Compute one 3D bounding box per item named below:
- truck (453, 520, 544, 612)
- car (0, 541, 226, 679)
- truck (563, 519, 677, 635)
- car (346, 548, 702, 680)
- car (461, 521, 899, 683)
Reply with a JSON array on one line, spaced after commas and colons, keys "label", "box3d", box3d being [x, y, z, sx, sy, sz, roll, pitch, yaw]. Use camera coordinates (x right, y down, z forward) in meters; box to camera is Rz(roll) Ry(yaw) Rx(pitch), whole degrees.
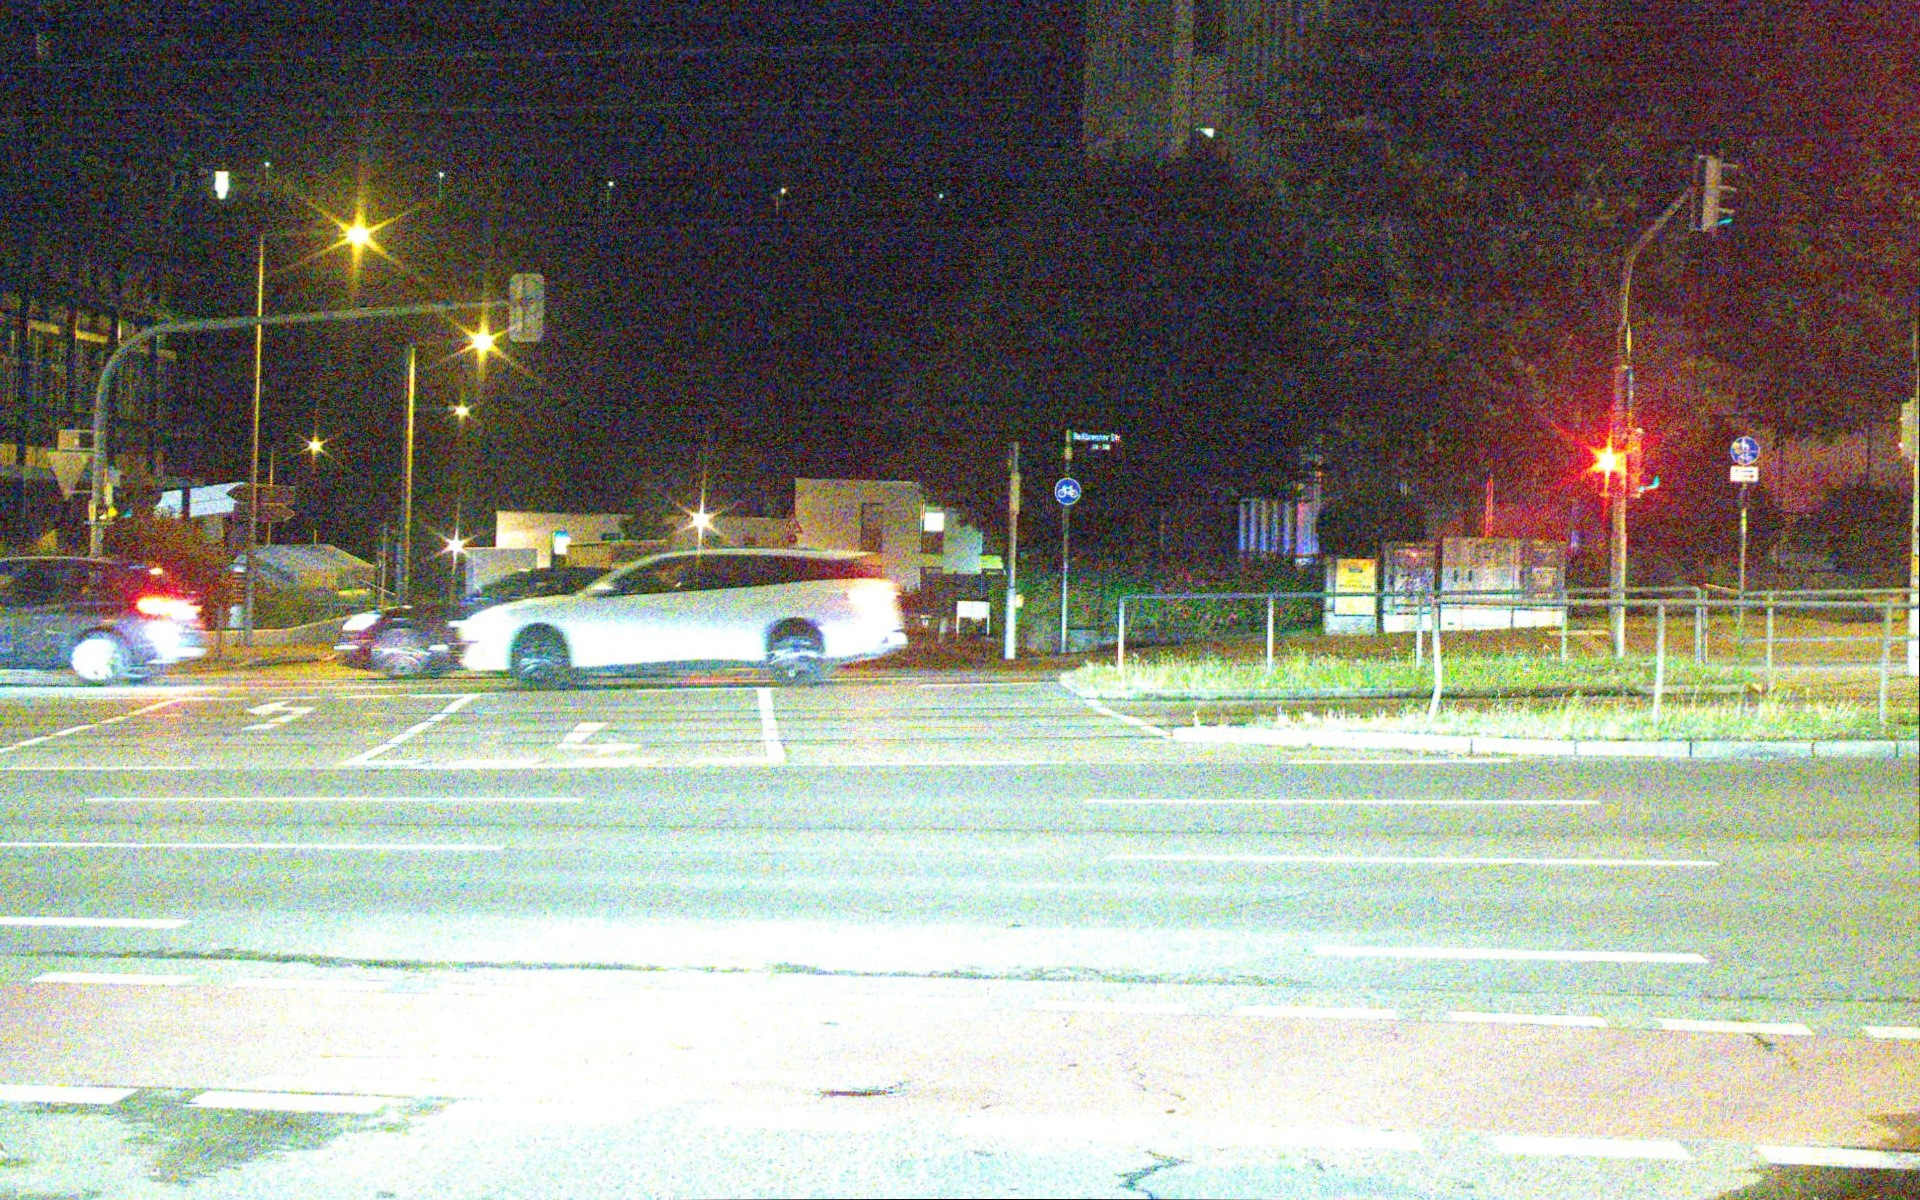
[{"label": "truck", "box3d": [-16.135, -1.167, 119.886, 2.417, 3.078, 6.439, 1, 0, -14]}, {"label": "car", "box3d": [-11.123, 0.102, 41.093, 4.234, 1.579, 1.803, 1, 0, 4]}, {"label": "truck", "box3d": [-14.780, -0.993, 148.848, 3.359, 4.826, 7.908, 1, 0, -17]}, {"label": "car", "box3d": [-5.503, 0.170, 43.780, 4.234, 1.579, 1.887, 1, 0, 2]}, {"label": "car", "box3d": [-3.014, -0.001, 37.664, 4.570, 1.579, 1.847, 1, 2, 2]}]
